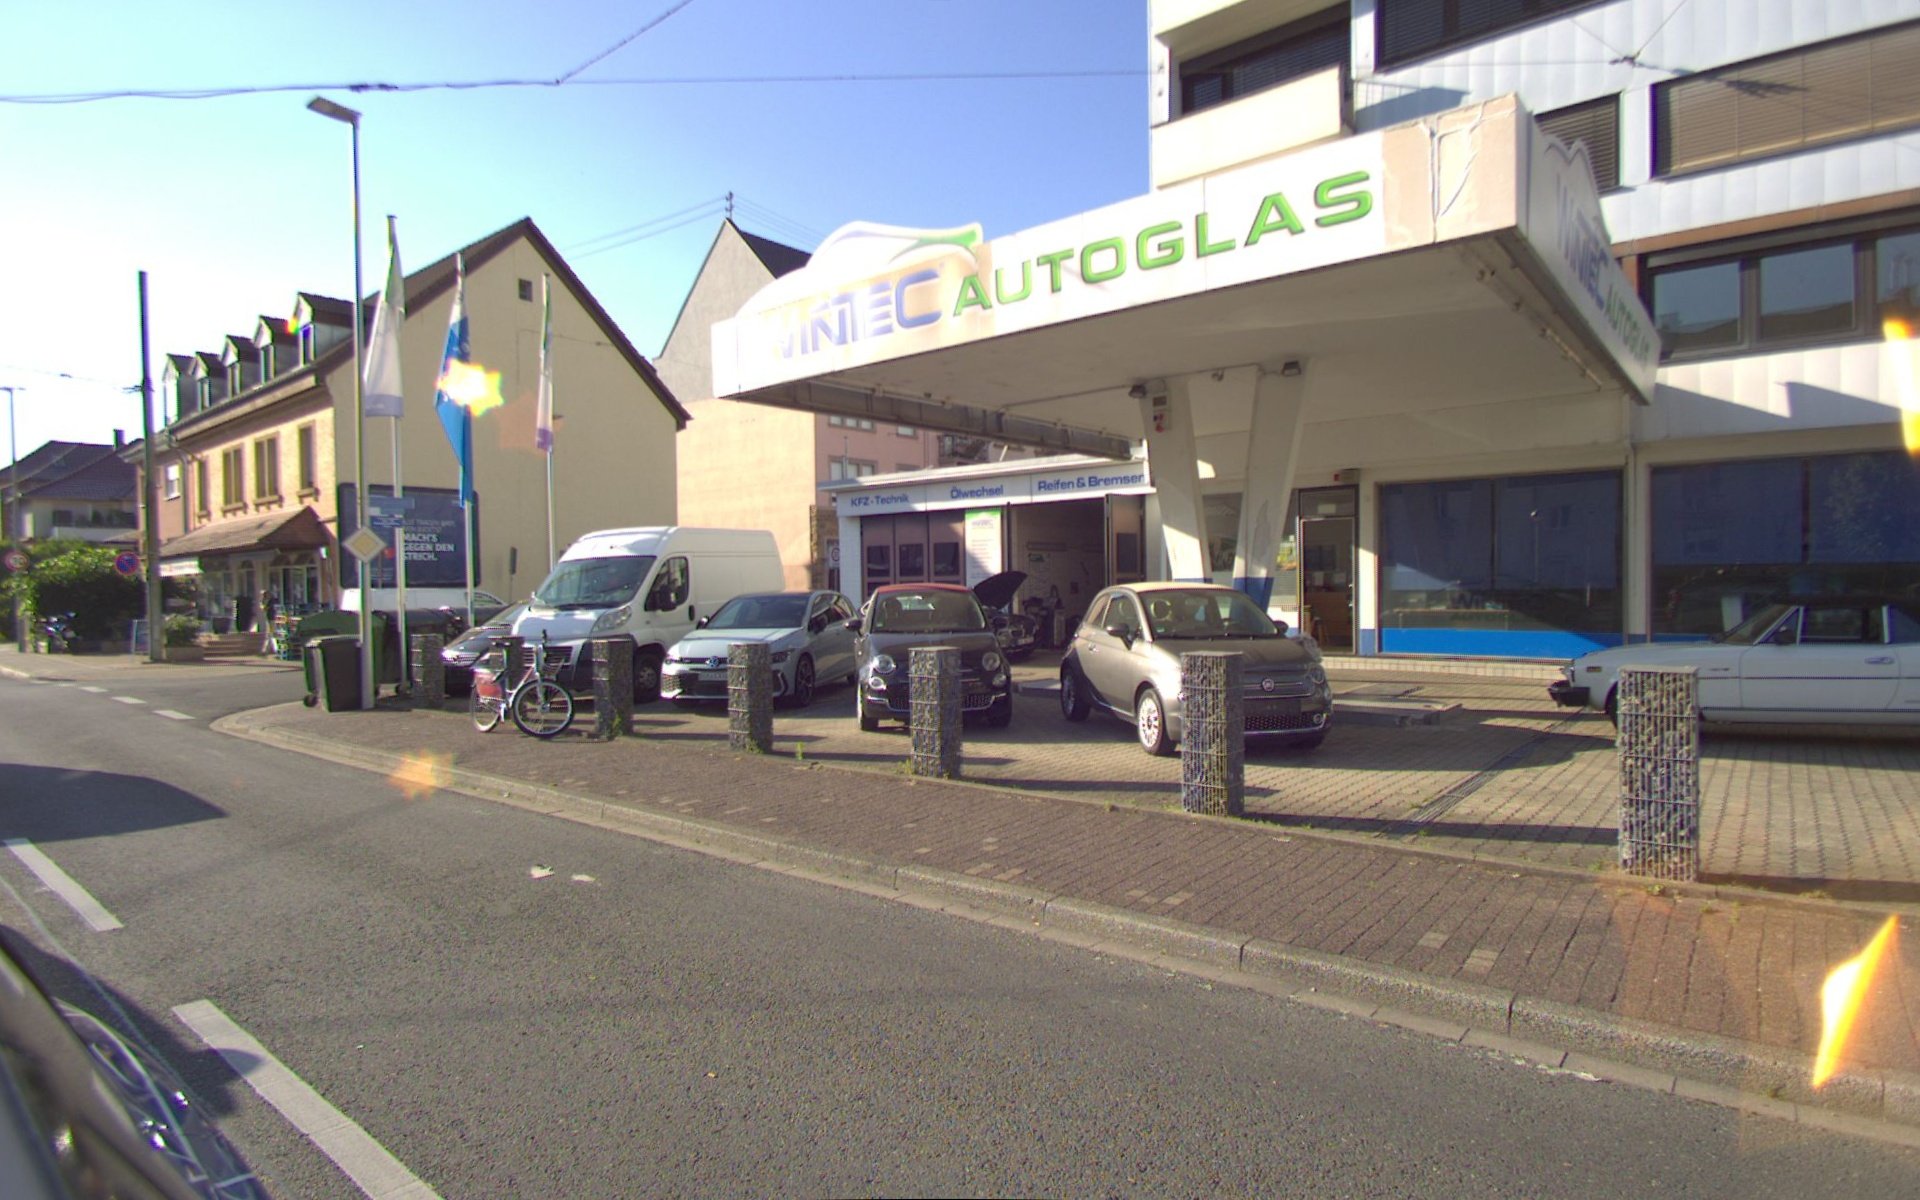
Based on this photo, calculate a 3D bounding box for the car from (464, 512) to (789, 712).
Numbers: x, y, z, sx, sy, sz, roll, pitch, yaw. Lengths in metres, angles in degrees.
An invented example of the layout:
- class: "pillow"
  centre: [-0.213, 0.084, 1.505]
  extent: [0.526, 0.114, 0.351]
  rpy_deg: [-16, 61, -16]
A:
- class: "car"
  centre: [-4.691, 0.133, 15.222]
  extent: [2.098, 2.472, 4.963]
  rpy_deg: [-1, 0, 18]

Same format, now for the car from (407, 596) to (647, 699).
- class: "car"
  centre: [-7.065, 0.705, 17.007]
  extent: [1.725, 1.488, 4.016]
  rpy_deg: [-1, 0, 12]

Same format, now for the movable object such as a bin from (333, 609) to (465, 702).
- class: "movable object such as a bin"
  centre: [-9.580, 0.916, 17.368]
  extent: [1.039, 1.475, 1.787]
  rpy_deg: [-1, 0, 15]

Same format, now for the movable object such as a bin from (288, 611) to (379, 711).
- class: "movable object such as a bin"
  centre: [-9.709, 0.918, 15.712]
  extent: [1.030, 1.475, 0.798]
  rpy_deg: [-1, 0, -18]

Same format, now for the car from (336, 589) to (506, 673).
- class: "car"
  centre: [-13.896, 0.740, 26.251]
  extent: [1.449, 2.029, 3.628]
  rpy_deg: [-1, 0, 37]

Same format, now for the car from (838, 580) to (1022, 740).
- class: "car"
  centre: [-0.486, 0.565, 11.507]
  extent: [1.569, 1.508, 3.443]
  rpy_deg: [-1, 0, -10]

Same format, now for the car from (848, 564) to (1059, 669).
- class: "car"
  centre: [-0.210, 0.321, 20.919]
  extent: [4.255, 1.958, 1.720]
  rpy_deg: [-1, 0, 40]

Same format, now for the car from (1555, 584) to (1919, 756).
- class: "car"
  centre: [7.382, 0.543, 8.570]
  extent: [3.898, 1.308, 1.506]
  rpy_deg: [-1, -1, 37]

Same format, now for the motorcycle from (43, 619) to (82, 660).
- class: "motorcycle"
  centre: [-27.970, 1.205, 31.528]
  extent: [2.186, 1.226, 0.699]
  rpy_deg: [-1, 0, 43]

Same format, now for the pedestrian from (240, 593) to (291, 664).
- class: "pedestrian"
  centre: [-18.647, 0.762, 27.190]
  extent: [0.758, 1.866, 0.820]
  rpy_deg: [-1, 0, 10]

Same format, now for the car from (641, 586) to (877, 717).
- class: "car"
  centre: [-2.534, 0.589, 13.804]
  extent: [1.725, 1.508, 4.016]
  rpy_deg: [-1, 0, 12]

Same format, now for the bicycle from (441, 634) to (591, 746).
- class: "bicycle"
  centre: [-4.898, 0.942, 11.121]
  extent: [1.789, 1.094, 0.716]
  rpy_deg: [-1, 1, 37]

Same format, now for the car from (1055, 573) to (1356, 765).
- class: "car"
  centre: [2.150, 0.536, 9.793]
  extent: [1.517, 1.497, 3.381]
  rpy_deg: [-1, 0, -11]
